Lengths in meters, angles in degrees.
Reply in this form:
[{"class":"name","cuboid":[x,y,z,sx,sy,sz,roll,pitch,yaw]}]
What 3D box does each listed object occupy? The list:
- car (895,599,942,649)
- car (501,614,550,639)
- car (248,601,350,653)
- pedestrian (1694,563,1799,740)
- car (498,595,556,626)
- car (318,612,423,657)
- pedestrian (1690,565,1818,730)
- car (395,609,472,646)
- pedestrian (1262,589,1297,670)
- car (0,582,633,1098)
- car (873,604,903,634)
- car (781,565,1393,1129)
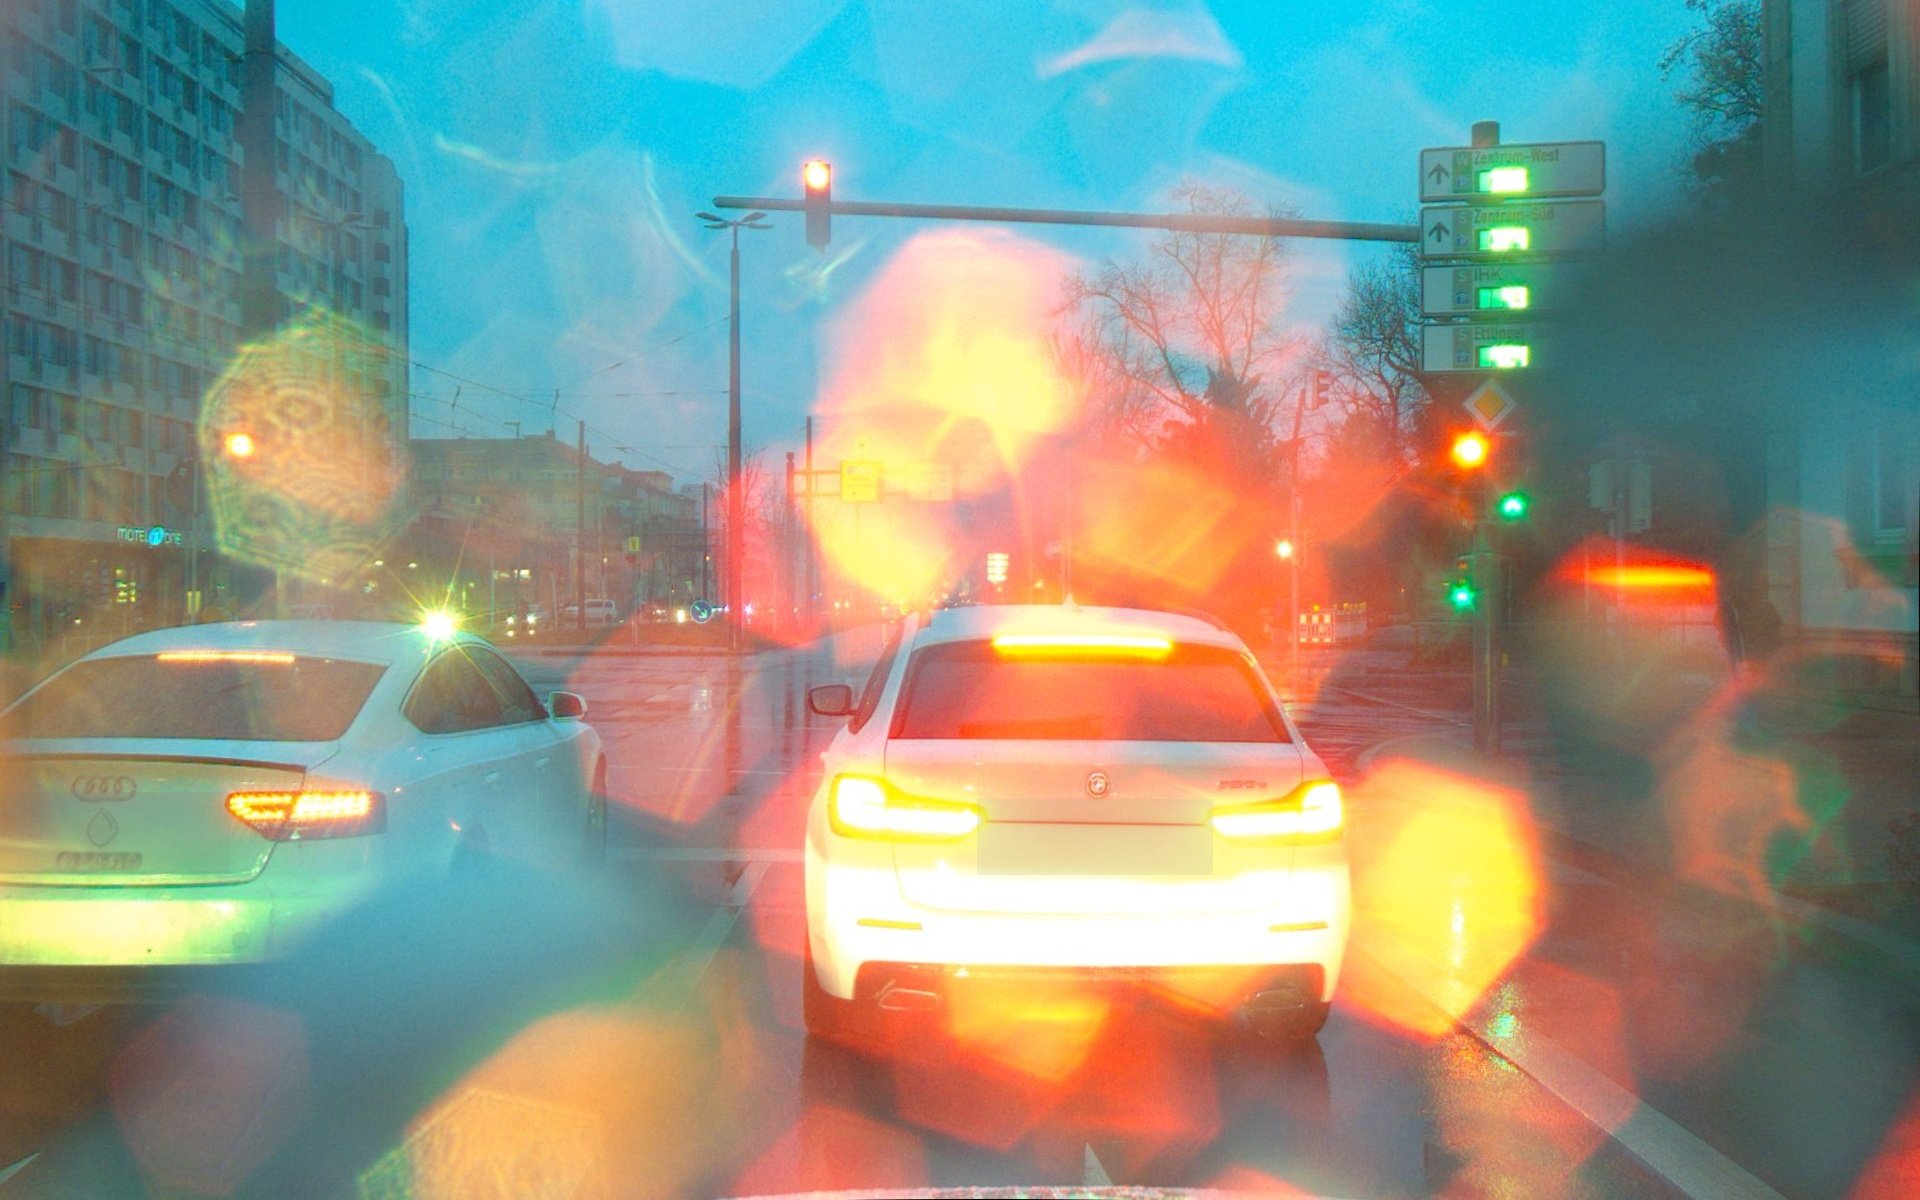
[{"class":"car","cuboid":[-1.775,1.005,71.396,1.953,2.049,3.999,1,0,-1]},{"class":"car","cuboid":[-27.511,1.661,104.802,1.954,1.487,5.092,1,0,-3]},{"class":"car","cuboid":[-24.126,0.961,60.543,1.843,1.821,4.598,1,0,0]},{"class":"pedestrian","cuboid":[7.440,0.472,15.681,0.765,1.607,1.011,1,-1,19]},{"class":"car","cuboid":[-22.050,0.546,84.352,1.954,1.487,5.090,1,0,-5]},{"class":"car","cuboid":[-21.001,1.192,59.116,1.953,1.487,5.094,1,0,-1]},{"class":"pedestrian","cuboid":[8.281,0.483,17.284,0.767,1.661,1.009,1,-1,-9]},{"class":"car","cuboid":[-22.523,1.165,70.944,1.954,1.487,5.091,1,0,-4]},{"class":"pedestrian","cuboid":[7.730,0.706,39.986,0.659,1.912,0.714,1,-1,-3]},{"class":"car","cuboid":[-2.571,0.708,6.942,1.724,1.495,4.249,1,0,-3]},{"class":"car","cuboid":[-4.989,1.298,115.778,1.953,2.049,3.999,1,0,-1]},{"class":"car","cuboid":[0.266,0.714,6.813,1.724,1.580,4.249,1,0,-3]}]
